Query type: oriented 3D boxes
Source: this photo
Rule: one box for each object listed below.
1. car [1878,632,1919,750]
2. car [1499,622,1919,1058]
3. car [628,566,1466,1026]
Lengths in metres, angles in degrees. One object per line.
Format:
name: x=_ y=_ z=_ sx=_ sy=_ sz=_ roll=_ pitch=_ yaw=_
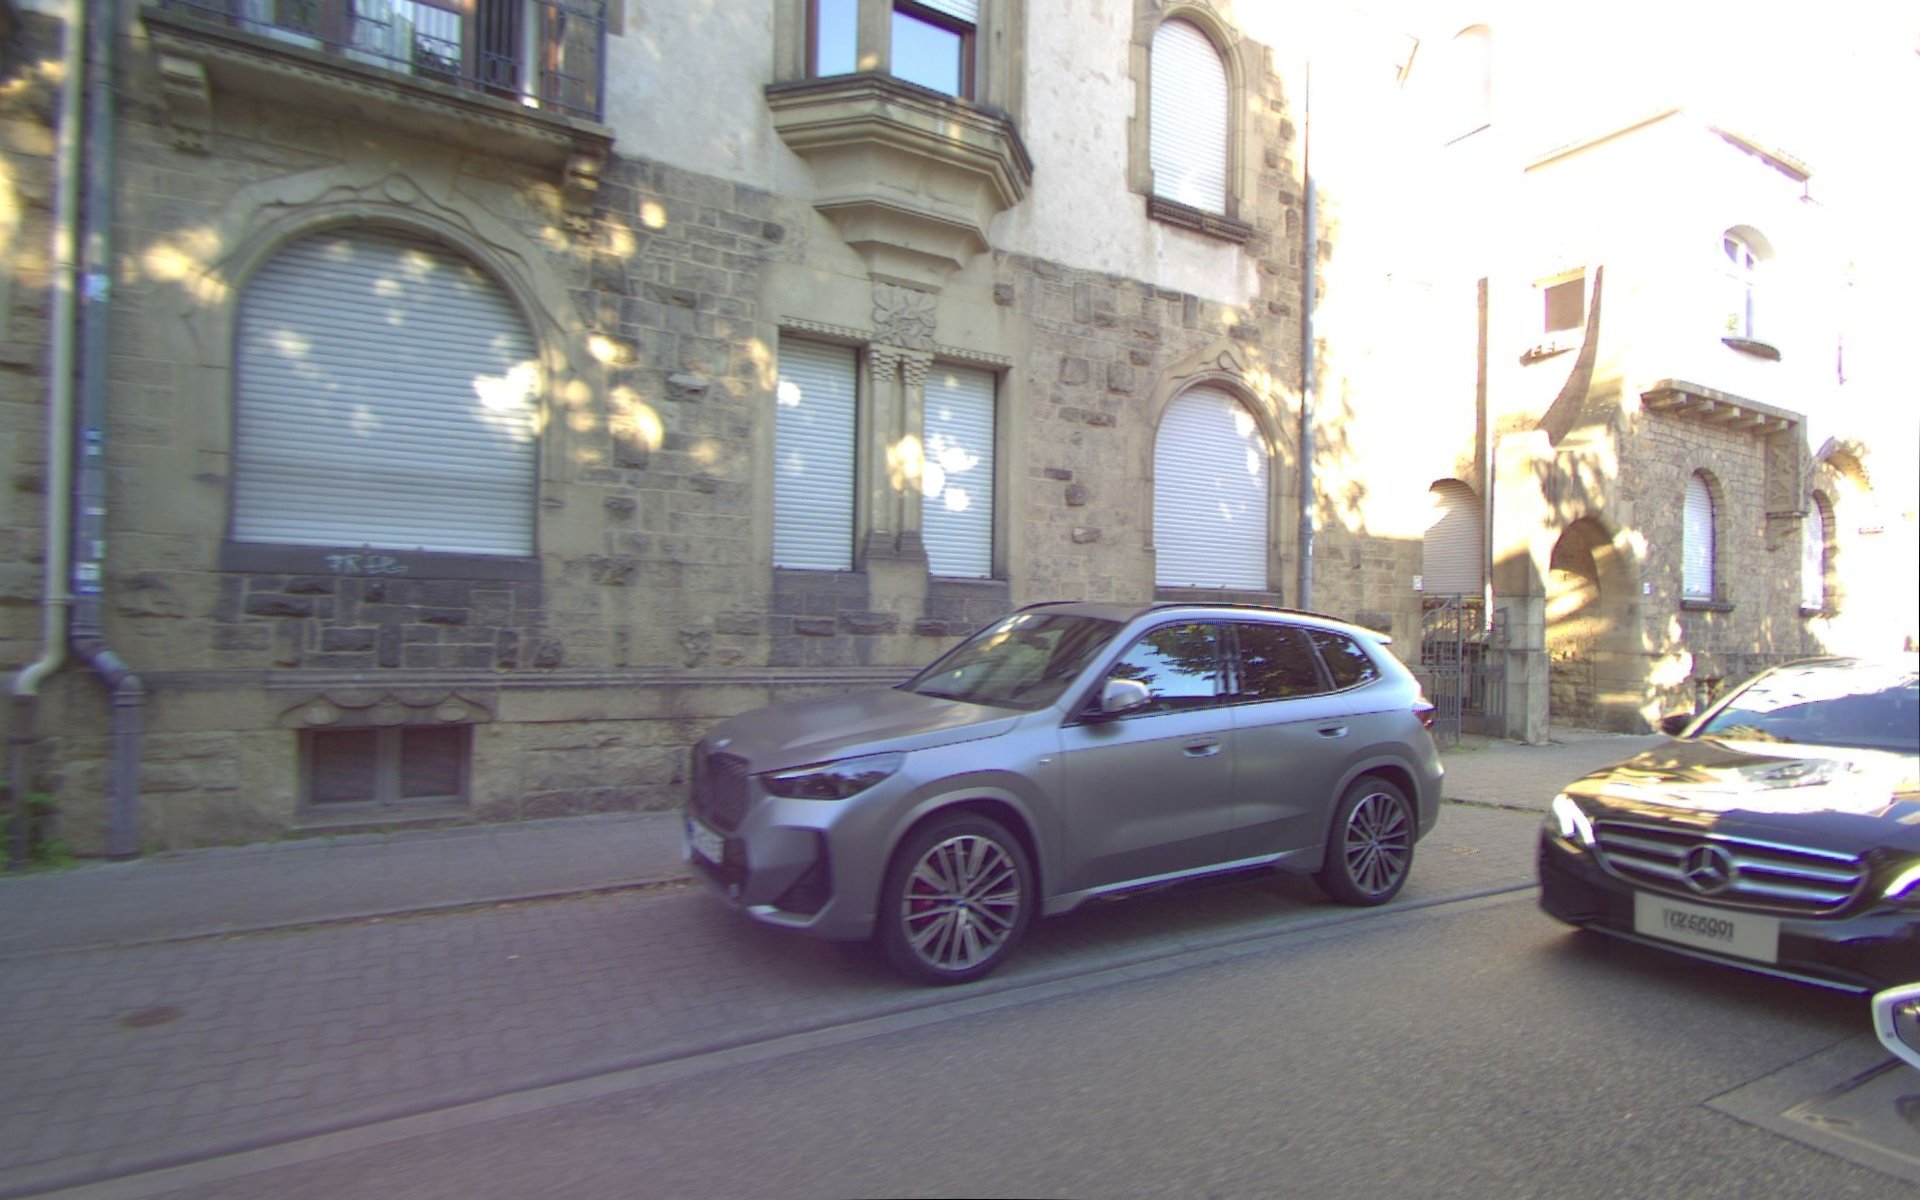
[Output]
car: x=14.772 y=1.324 z=13.992 sx=4.067 sy=1.537 sz=1.746 roll=3 pitch=2 yaw=-31
car: x=4.924 y=0.960 z=5.100 sx=4.330 sy=1.505 sz=1.888 roll=3 pitch=-4 yaw=-30
car: x=0.627 y=0.820 z=5.651 sx=4.348 sy=1.643 sz=2.038 roll=3 pitch=-2 yaw=-32
